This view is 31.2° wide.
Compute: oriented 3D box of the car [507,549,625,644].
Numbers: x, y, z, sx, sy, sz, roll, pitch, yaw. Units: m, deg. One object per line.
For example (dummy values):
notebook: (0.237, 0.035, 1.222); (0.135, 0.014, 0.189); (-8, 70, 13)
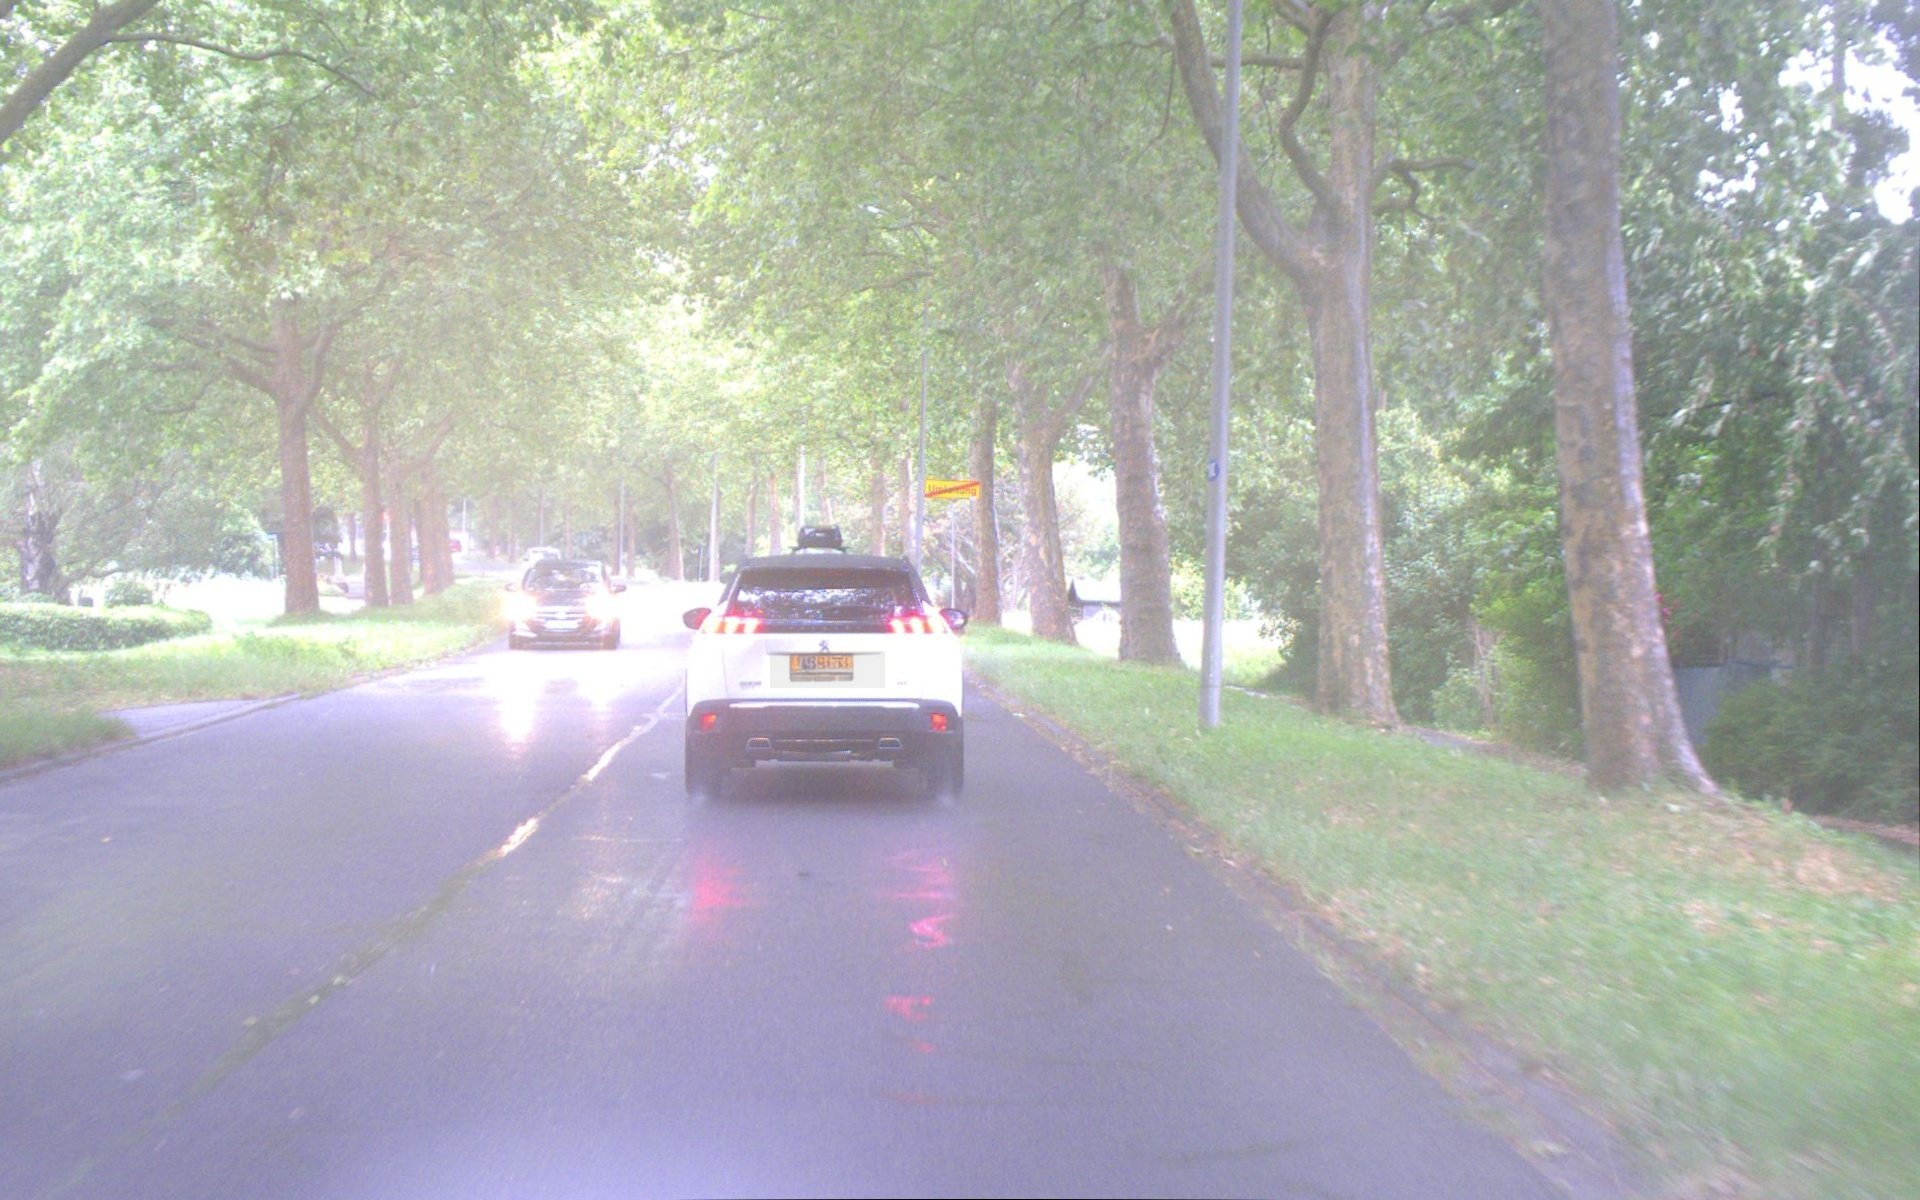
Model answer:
car: (-6.625, -0.087, 58.083); (1.845, 1.497, 4.001); (2, 1, -5)

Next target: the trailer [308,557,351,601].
trailer: (-38.348, -1.288, 209.014); (2.484, 2.558, 5.334); (2, 1, -11)

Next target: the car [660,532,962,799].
car: (-0.967, 0.364, 22.853); (1.793, 1.573, 3.845); (2, 1, -2)
